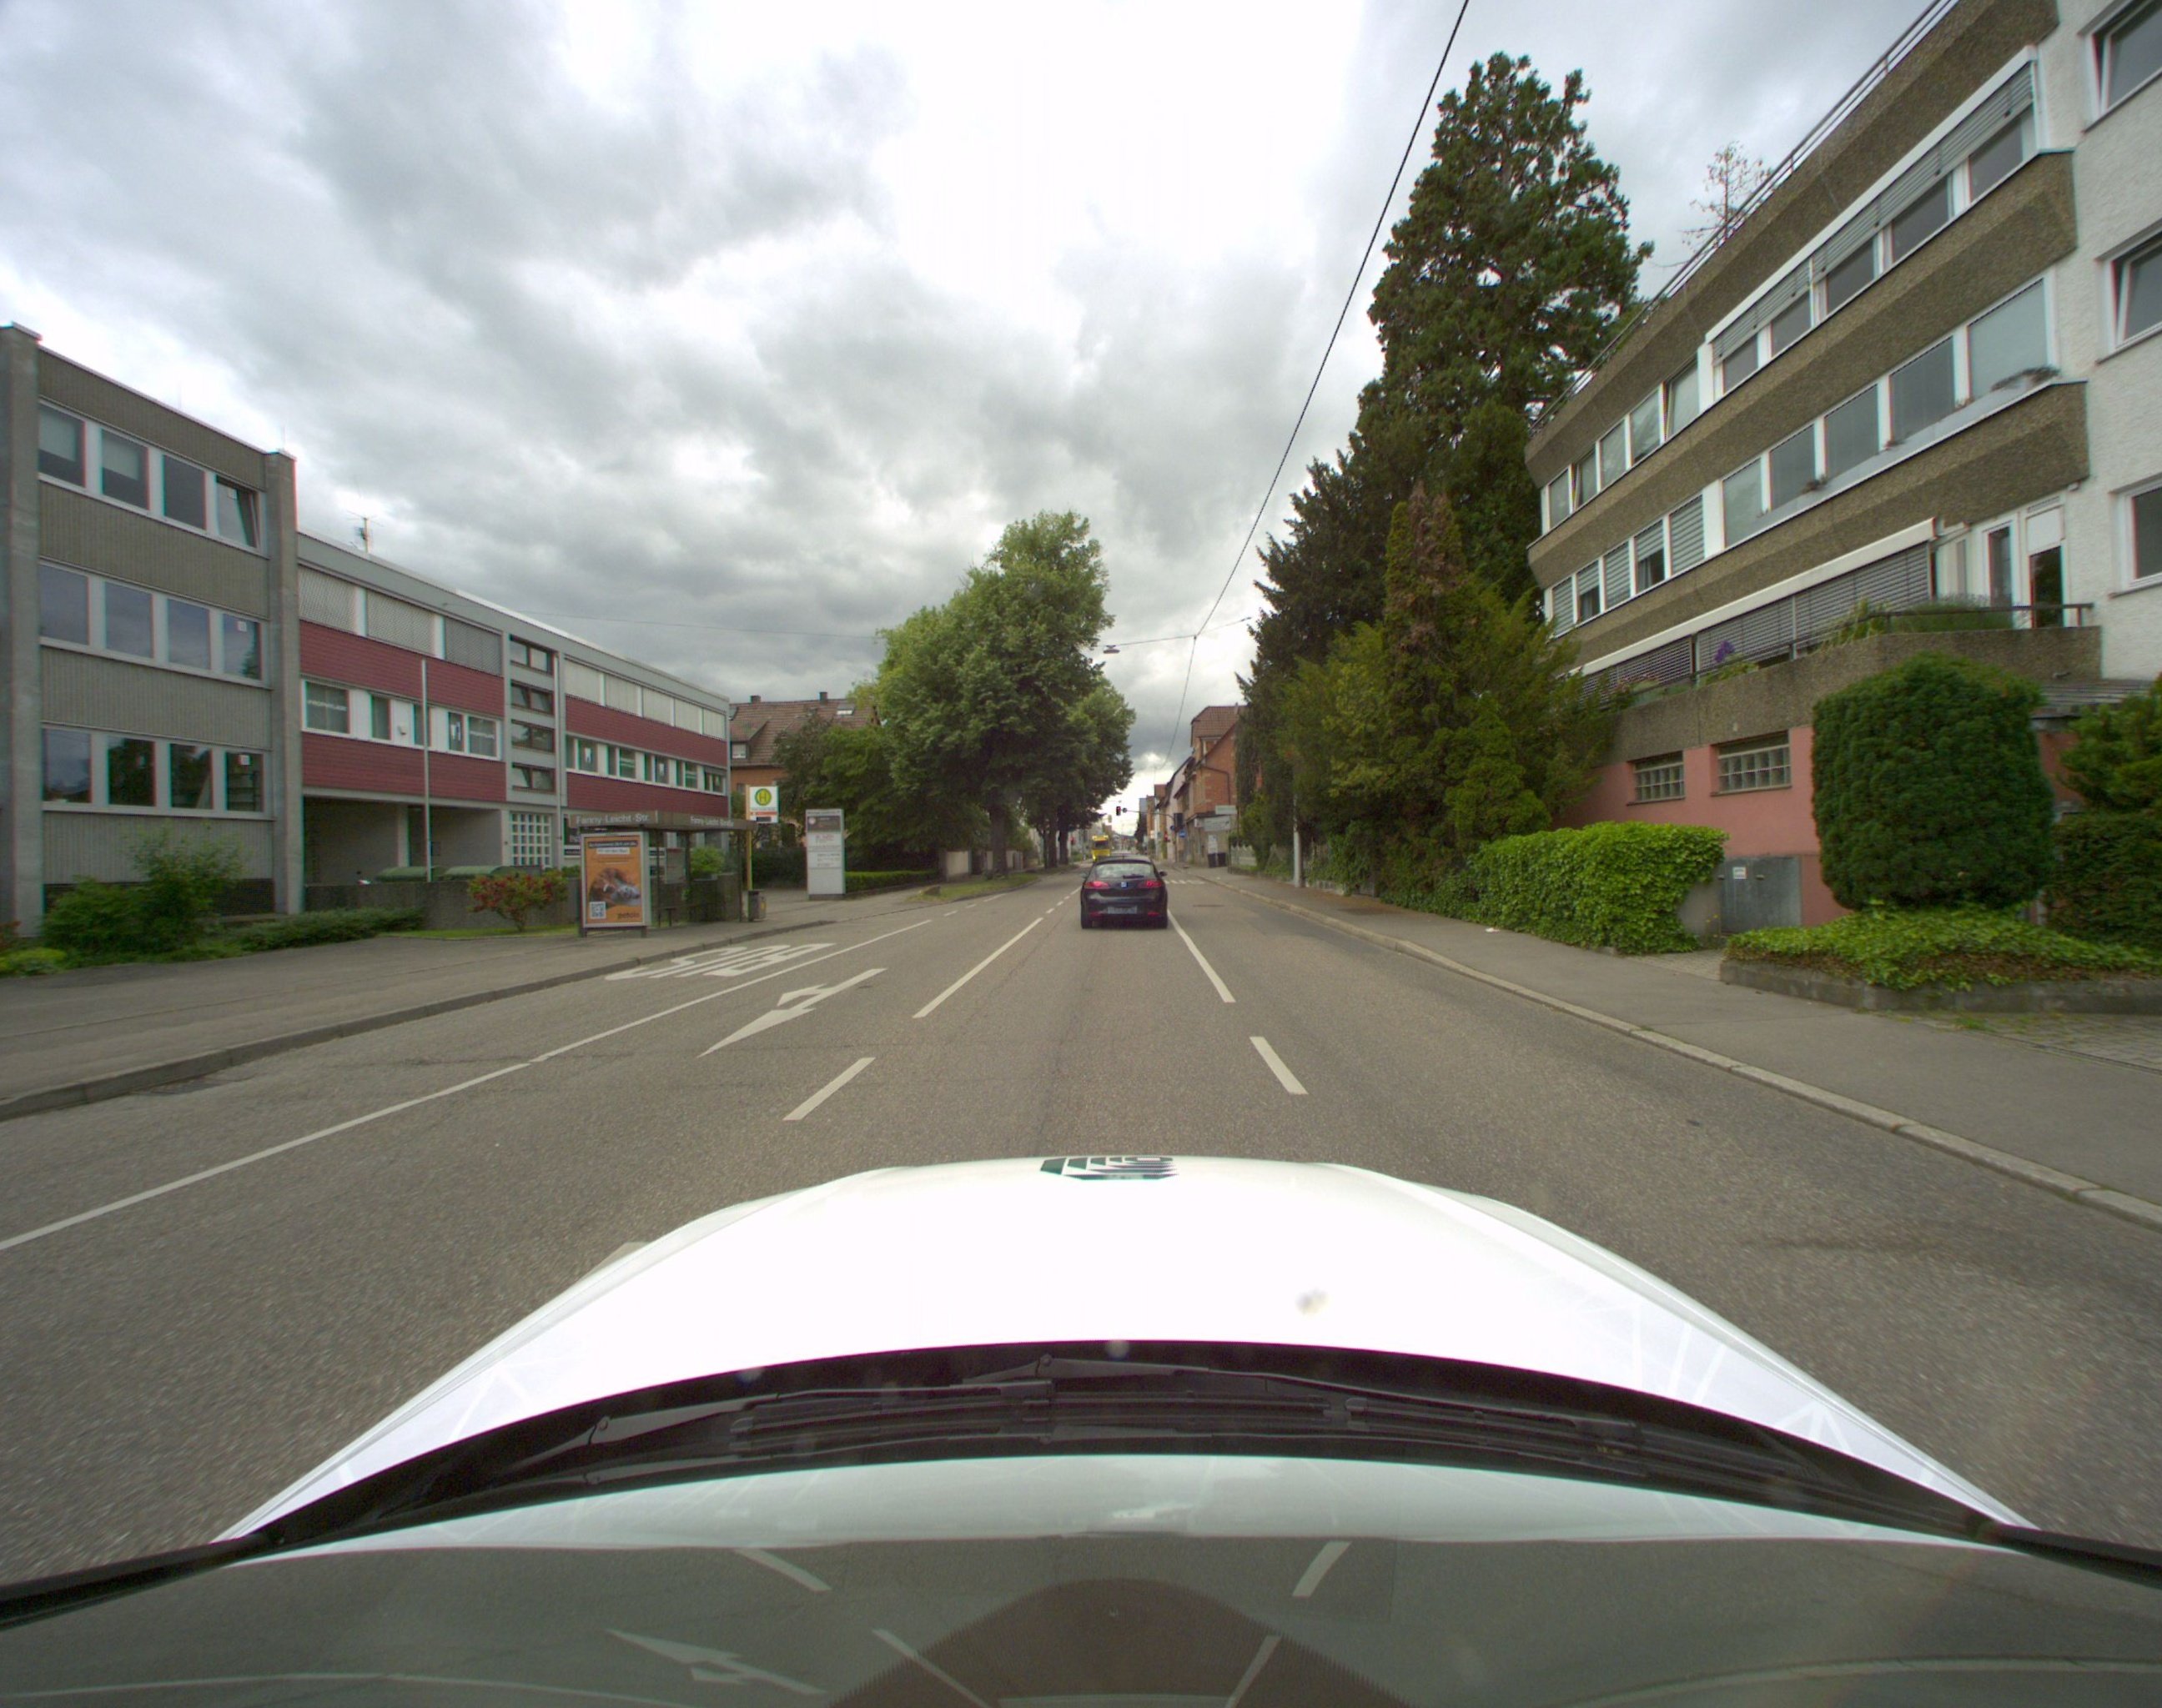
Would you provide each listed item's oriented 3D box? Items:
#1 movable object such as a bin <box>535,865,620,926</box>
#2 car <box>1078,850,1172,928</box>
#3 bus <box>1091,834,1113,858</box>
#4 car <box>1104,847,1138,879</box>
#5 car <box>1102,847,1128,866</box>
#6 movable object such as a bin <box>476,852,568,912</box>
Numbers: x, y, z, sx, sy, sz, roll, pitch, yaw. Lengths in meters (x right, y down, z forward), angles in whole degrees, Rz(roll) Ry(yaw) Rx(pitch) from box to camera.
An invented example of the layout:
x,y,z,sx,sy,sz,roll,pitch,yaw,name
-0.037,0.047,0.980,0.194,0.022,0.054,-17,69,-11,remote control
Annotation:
x,y,z,sx,sy,sz,roll,pitch,yaw,name
-17.998,1.455,29.174,1.986,2.013,1.543,-2,0,1,movable object such as a bin
0.823,0.659,17.302,1.754,1.448,3.713,0,0,-1,car
2.926,-1.096,112.347,2.858,3.136,6.400,-2,0,2,bus
2.399,0.480,47.849,1.811,1.699,4.257,-2,1,4,car
2.849,0.156,68.706,1.935,1.481,4.253,-2,1,0,car
-19.986,0.985,29.193,1.986,2.013,1.787,-2,0,1,movable object such as a bin
